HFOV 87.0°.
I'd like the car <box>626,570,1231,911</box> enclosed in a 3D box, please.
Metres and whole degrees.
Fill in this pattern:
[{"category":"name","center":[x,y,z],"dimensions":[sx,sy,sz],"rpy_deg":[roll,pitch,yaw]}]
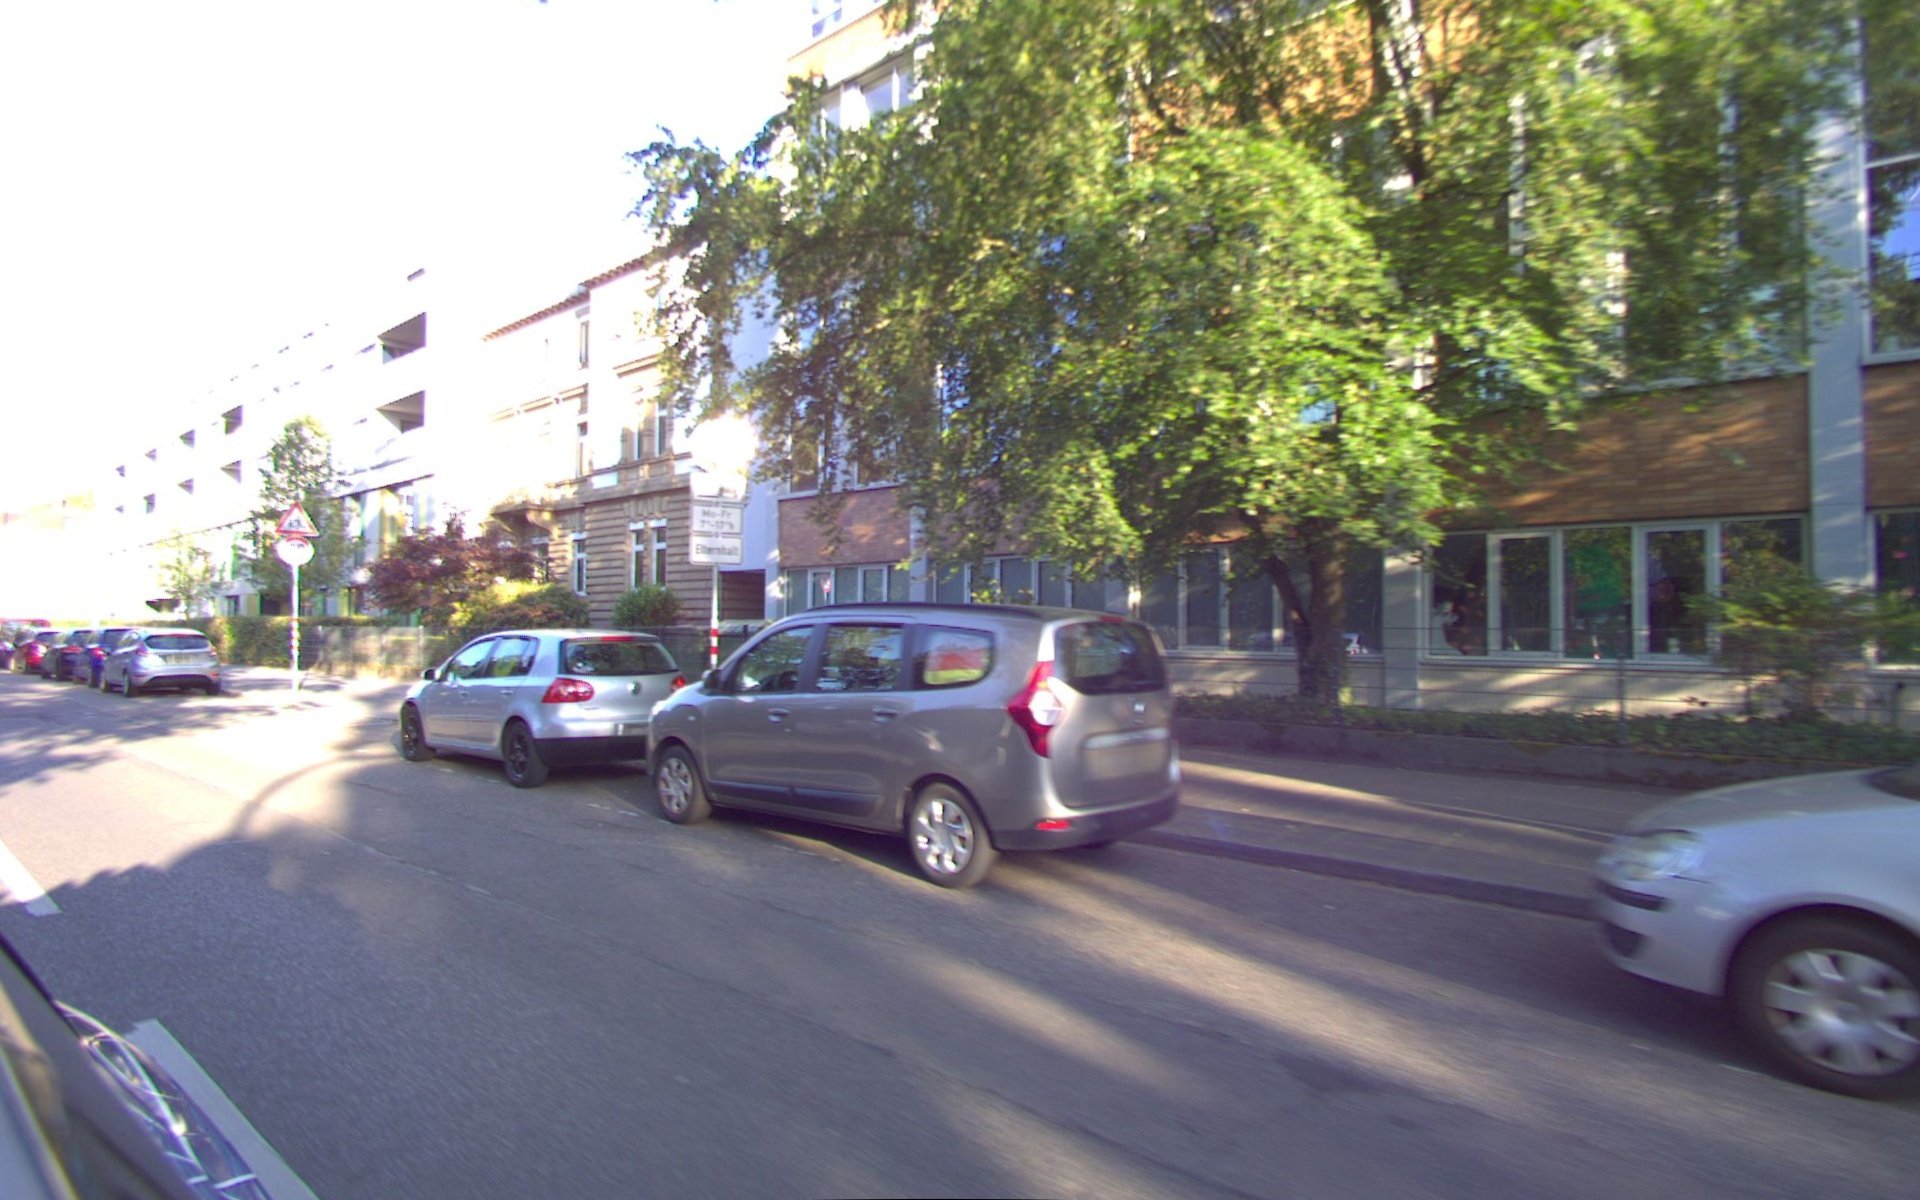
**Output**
[{"category":"car","center":[-0.455,0.806,7.207],"dimensions":[4.338,1.721,1.661],"rpy_deg":[-2,-4,41]}]

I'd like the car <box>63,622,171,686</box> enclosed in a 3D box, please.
[{"category":"car","center":[-21.538,1.374,25.809],"dimensions":[3.787,1.519,1.581],"rpy_deg":[-2,-4,43]}]

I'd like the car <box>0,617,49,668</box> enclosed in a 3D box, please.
[{"category":"car","center":[-37.088,1.667,39.372],"dimensions":[4.234,1.904,1.789],"rpy_deg":[-2,-4,40]}]

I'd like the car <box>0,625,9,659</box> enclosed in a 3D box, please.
[{"category":"car","center":[-45.353,1.948,46.602],"dimensions":[4.111,1.545,1.725],"rpy_deg":[-2,-2,39]}]

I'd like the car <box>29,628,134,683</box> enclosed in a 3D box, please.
[{"category":"car","center":[-25.088,1.579,28.852],"dimensions":[4.051,1.466,1.582],"rpy_deg":[-2,-4,40]}]

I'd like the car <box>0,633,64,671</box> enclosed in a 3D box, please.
[{"category":"car","center":[-33.163,1.838,35.849],"dimensions":[3.729,1.290,1.540],"rpy_deg":[-2,-4,40]}]

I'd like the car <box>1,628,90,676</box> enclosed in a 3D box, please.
[{"category":"car","center":[-29.671,1.661,32.800],"dimensions":[3.858,1.466,1.582],"rpy_deg":[-1,-3,40]}]

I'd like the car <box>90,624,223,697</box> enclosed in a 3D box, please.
[{"category":"car","center":[-18.091,1.345,22.733],"dimensions":[3.769,1.505,1.584],"rpy_deg":[-2,-4,40]}]

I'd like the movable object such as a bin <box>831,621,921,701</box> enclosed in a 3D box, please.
[{"category":"movable object such as a bin","center":[-1.594,1.129,19.221],"dimensions":[1.373,1.441,1.086],"rpy_deg":[-2,-3,44]}]

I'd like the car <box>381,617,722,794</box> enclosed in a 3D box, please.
[{"category":"car","center":[-4.398,0.993,10.616],"dimensions":[4.059,1.505,1.653],"rpy_deg":[-2,-4,41]}]

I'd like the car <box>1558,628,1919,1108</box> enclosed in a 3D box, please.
[{"category":"car","center":[4.234,0.837,3.089],"dimensions":[3.881,1.468,1.661],"rpy_deg":[-2,-4,42]}]

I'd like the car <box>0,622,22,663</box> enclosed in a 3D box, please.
[{"category":"car","center":[-41.158,1.790,42.710],"dimensions":[4.413,1.689,1.724],"rpy_deg":[-1,-2,40]}]
